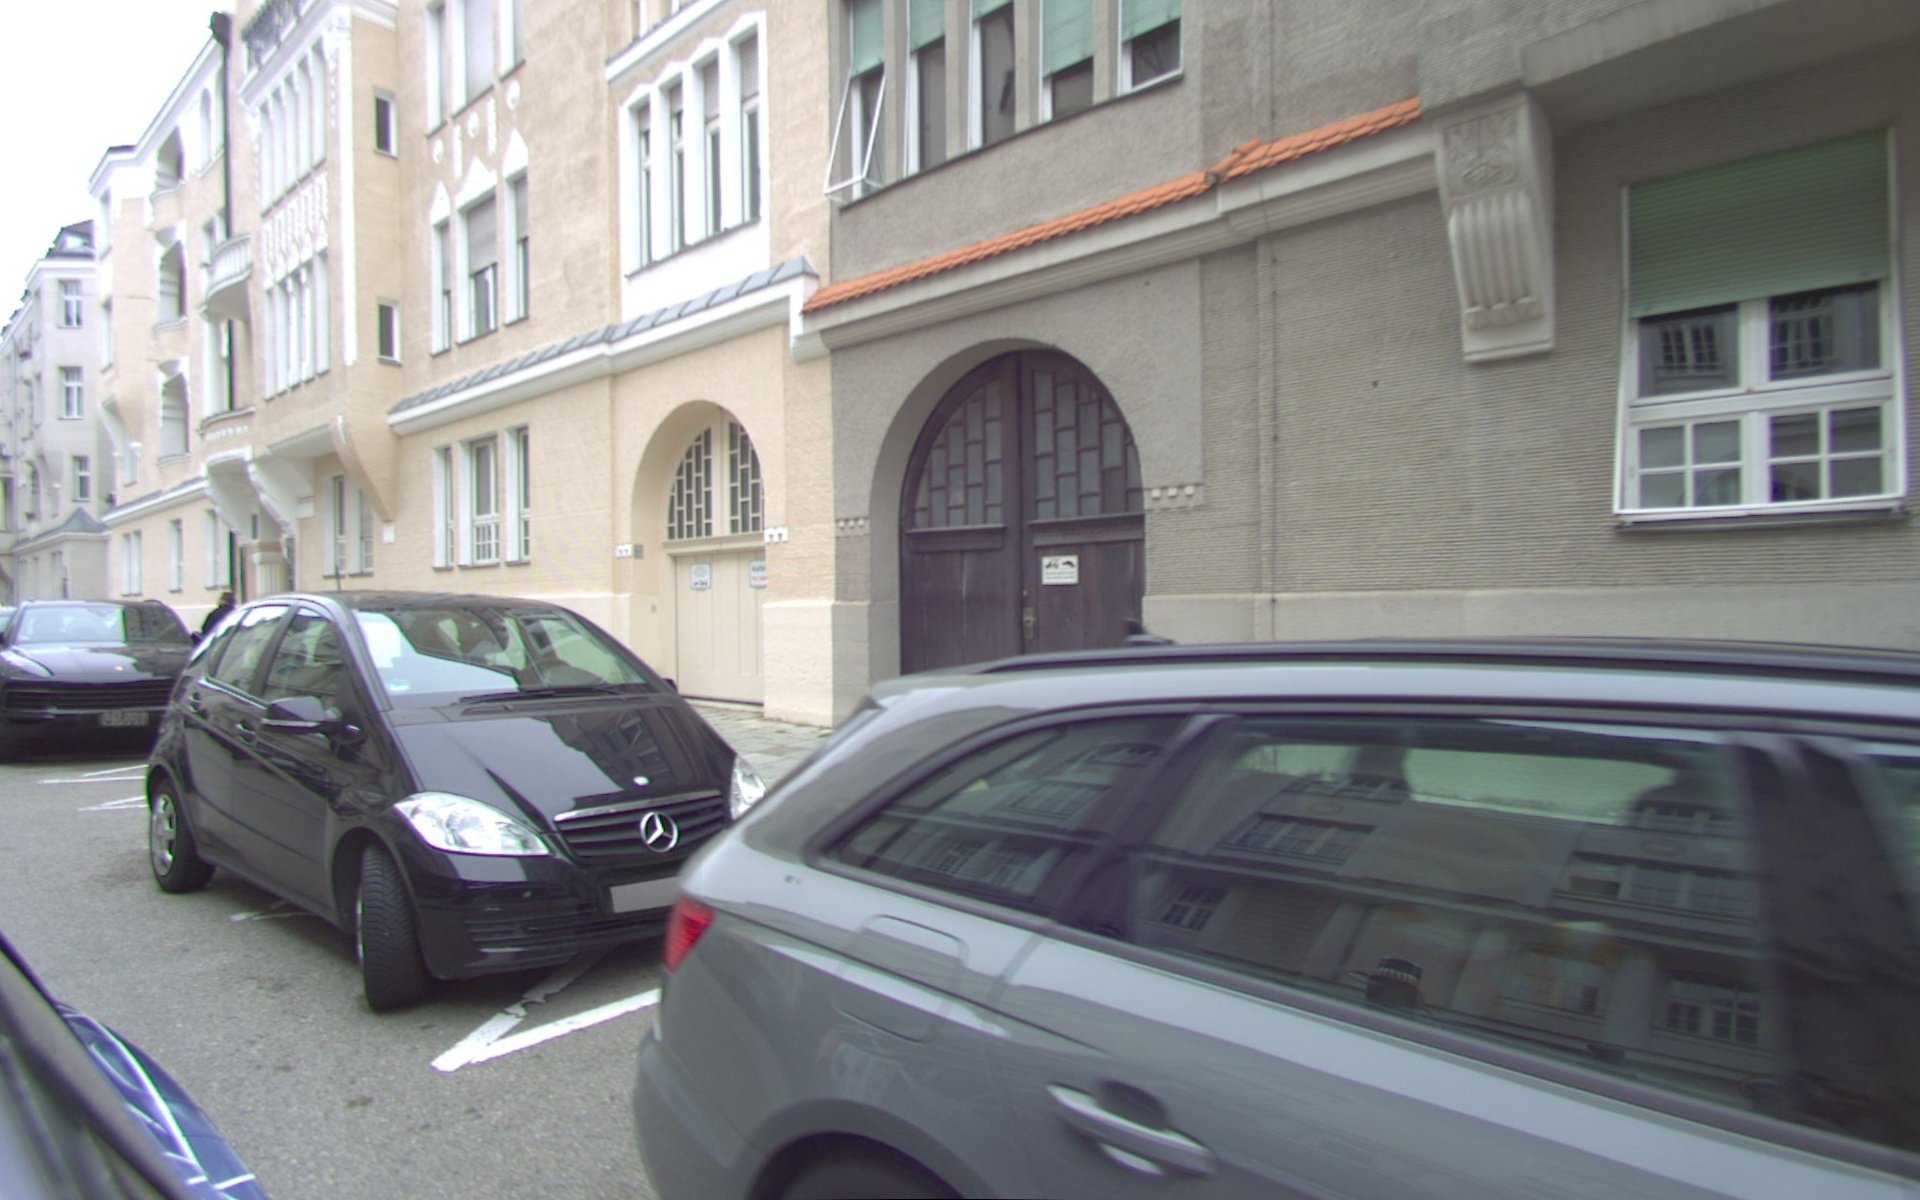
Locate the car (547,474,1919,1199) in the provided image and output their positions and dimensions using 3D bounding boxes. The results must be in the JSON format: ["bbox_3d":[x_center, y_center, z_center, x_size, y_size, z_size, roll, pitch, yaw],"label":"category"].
[{"bbox_3d":[1.498,0.670,1.269,4.604,1.525,1.818,-1,-1,40],"label":"car"}]

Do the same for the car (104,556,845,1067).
[{"bbox_3d":[-2.573,0.663,5.018,3.808,1.584,1.786,-1,0,38],"label":"car"}]

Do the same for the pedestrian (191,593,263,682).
[{"bbox_3d":[-14.999,0.743,20.702,0.939,1.741,0.982,-1,0,41],"label":"pedestrian"}]

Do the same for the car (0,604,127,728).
[{"bbox_3d":[-14.092,0.913,15.263,4.100,1.655,1.713,-1,-1,41],"label":"car"}]

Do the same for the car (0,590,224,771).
[{"bbox_3d":[-10.070,0.770,11.586,4.619,1.671,1.929,-1,0,45],"label":"car"}]

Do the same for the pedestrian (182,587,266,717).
[{"bbox_3d":[-10.651,0.720,14.654,0.740,1.803,0.826,-1,0,41],"label":"pedestrian"}]

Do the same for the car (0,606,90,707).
[{"bbox_3d":[-17.535,0.968,18.488,4.458,1.661,1.853,-1,0,41],"label":"car"}]
